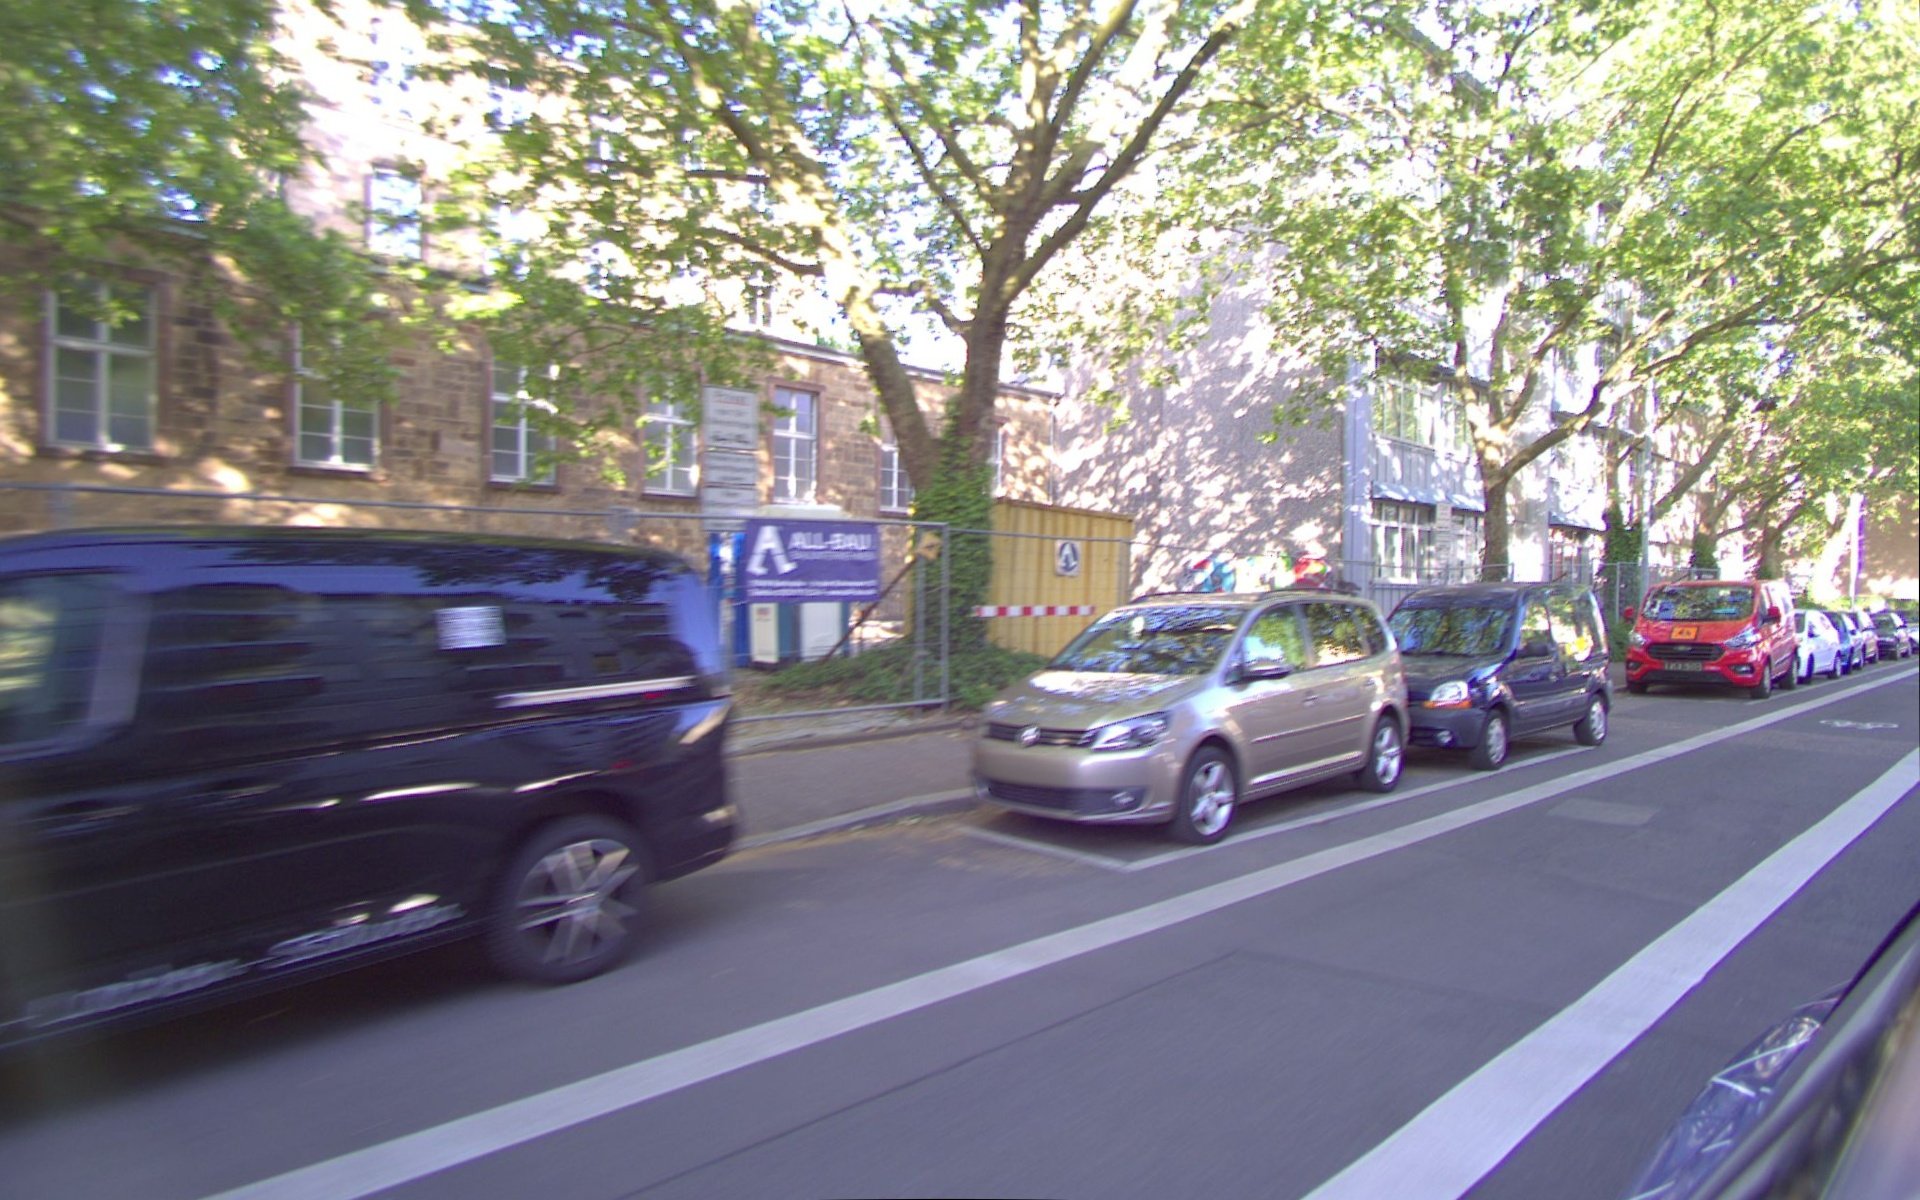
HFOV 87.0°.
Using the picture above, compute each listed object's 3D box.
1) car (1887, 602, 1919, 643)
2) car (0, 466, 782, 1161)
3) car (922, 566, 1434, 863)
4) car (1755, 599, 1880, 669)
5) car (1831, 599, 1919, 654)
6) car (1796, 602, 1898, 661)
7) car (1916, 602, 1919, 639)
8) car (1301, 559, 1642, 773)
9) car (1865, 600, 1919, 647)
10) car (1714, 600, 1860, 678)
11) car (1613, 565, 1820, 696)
[{"bbox_3d":[36.386,0.801,38.013,4.523,1.455,1.858,0,0,-42],"label":"car"},{"bbox_3d":[-3.097,0.589,3.535,1.822,1.865,4.827,-2,-1,41],"label":"car"},{"bbox_3d":[1.870,0.647,7.726,4.257,1.648,1.694,0,-1,-43],"label":"car"},{"bbox_3d":[20.578,0.772,24.232,3.863,1.530,1.856,0,-2,-44],"label":"car"},{"bbox_3d":[28.193,0.765,30.875,4.519,1.542,1.857,0,-1,-42],"label":"car"},{"bbox_3d":[23.839,0.815,27.173,3.432,1.494,1.615,0,-2,-42],"label":"car"},{"bbox_3d":[40.848,0.830,41.748,4.888,1.455,1.856,0,0,-44],"label":"car"},{"bbox_3d":[5.482,0.571,10.637,4.056,1.836,1.696,0,-1,-40],"label":"car"},{"bbox_3d":[32.731,0.765,34.856,4.223,1.542,1.857,0,-1,-42],"label":"car"},{"bbox_3d":[17.319,0.762,21.150,3.692,1.504,1.641,0,-1,-39],"label":"car"},{"bbox_3d":[13.695,0.480,18.184,5.084,2.019,2.080,0,-1,-43],"label":"car"}]
